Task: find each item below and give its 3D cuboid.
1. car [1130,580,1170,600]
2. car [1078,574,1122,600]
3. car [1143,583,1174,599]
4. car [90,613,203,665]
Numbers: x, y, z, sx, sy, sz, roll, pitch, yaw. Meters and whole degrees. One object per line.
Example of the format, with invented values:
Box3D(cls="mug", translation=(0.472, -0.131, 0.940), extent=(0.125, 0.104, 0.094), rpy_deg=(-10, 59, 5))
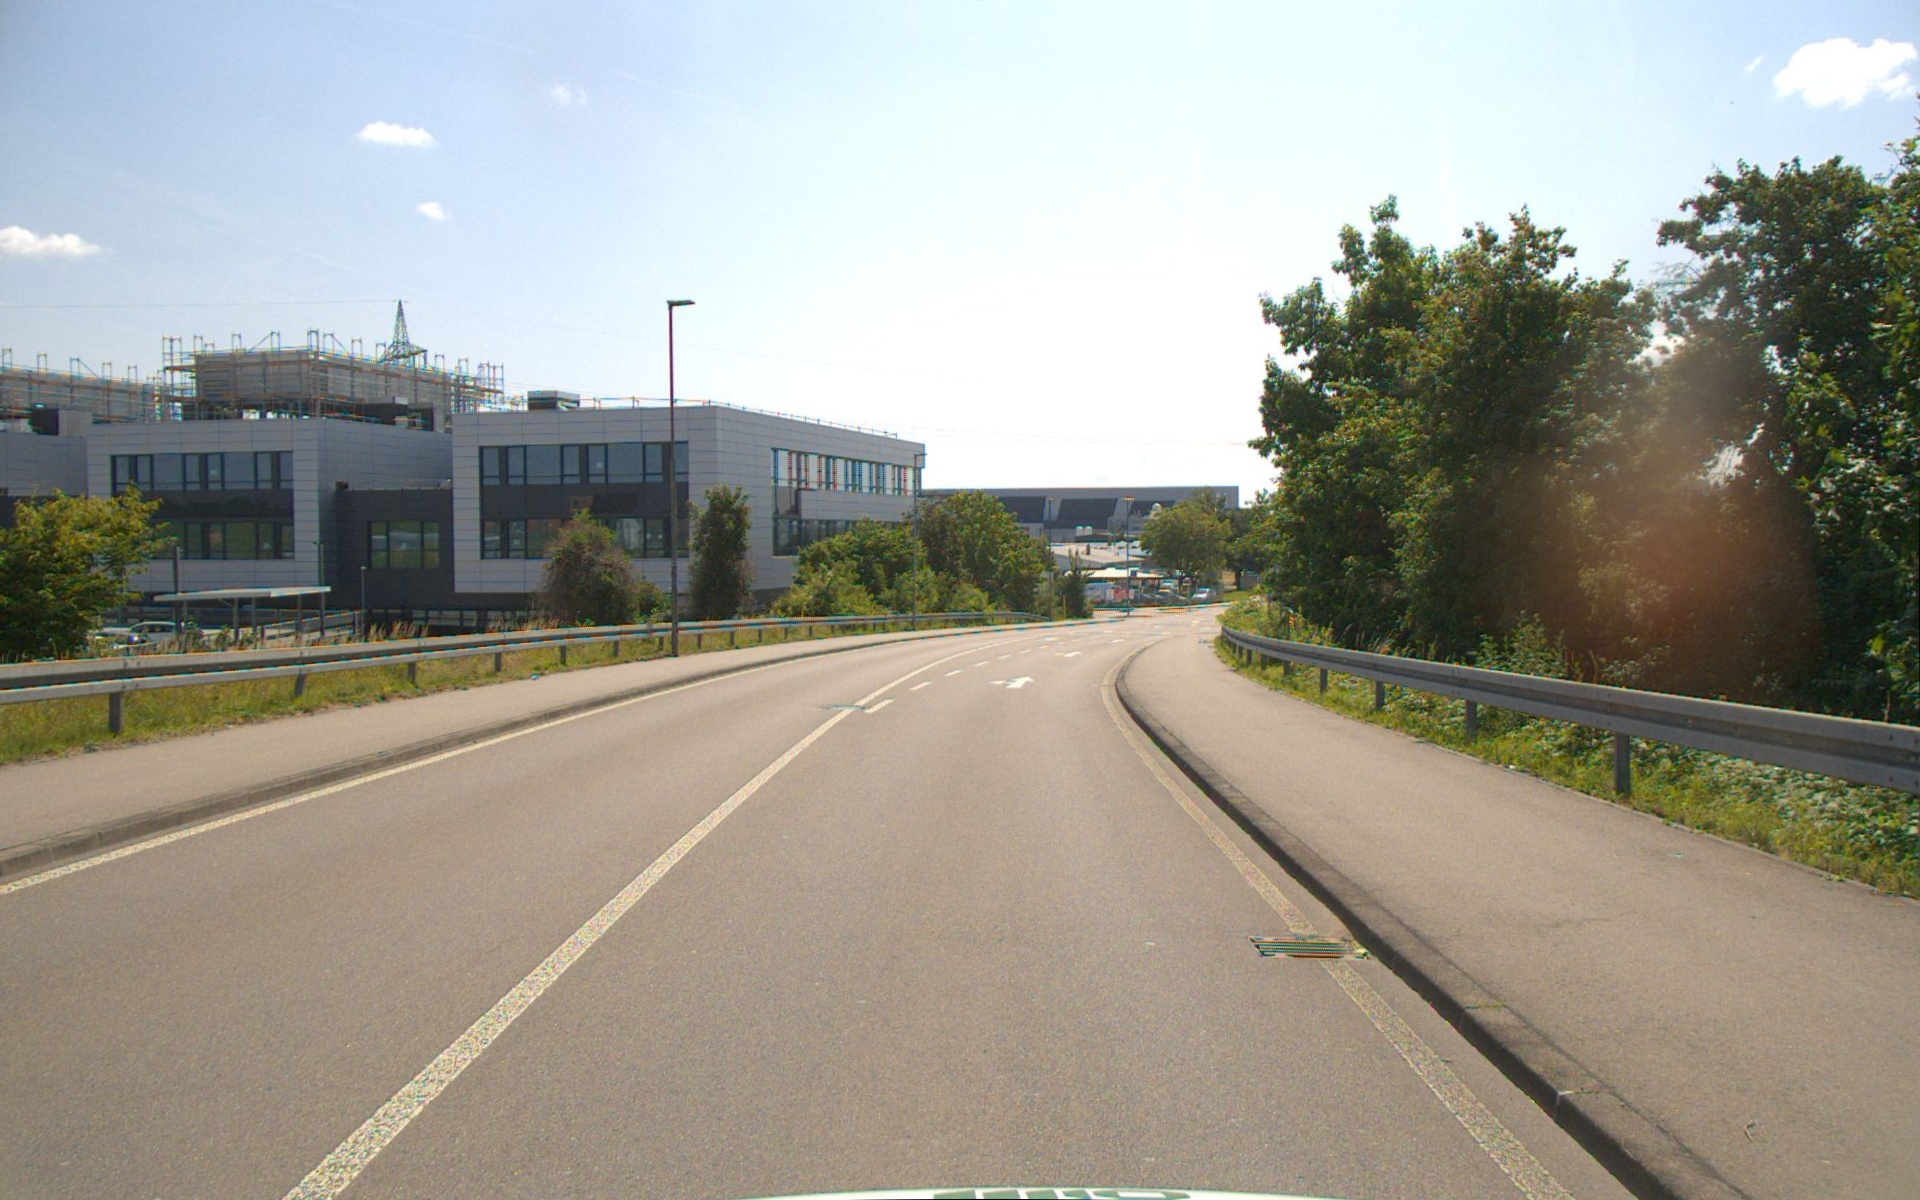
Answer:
Box3D(cls="car", translation=(20.307, -1.106, 176.902), extent=(3.931, 1.936, 1.987), rpy_deg=(3, 4, 43))
Box3D(cls="car", translation=(14.521, -1.373, 171.655), extent=(4.292, 2.654, 1.986), rpy_deg=(1, 1, 45))
Box3D(cls="car", translation=(25.001, -1.127, 208.325), extent=(3.902, 1.882, 1.836), rpy_deg=(0, 1, 5))
Box3D(cls="car", translation=(-35.289, 1.683, 71.825), extent=(3.910, 2.048, 1.959), rpy_deg=(1, 2, -6))
